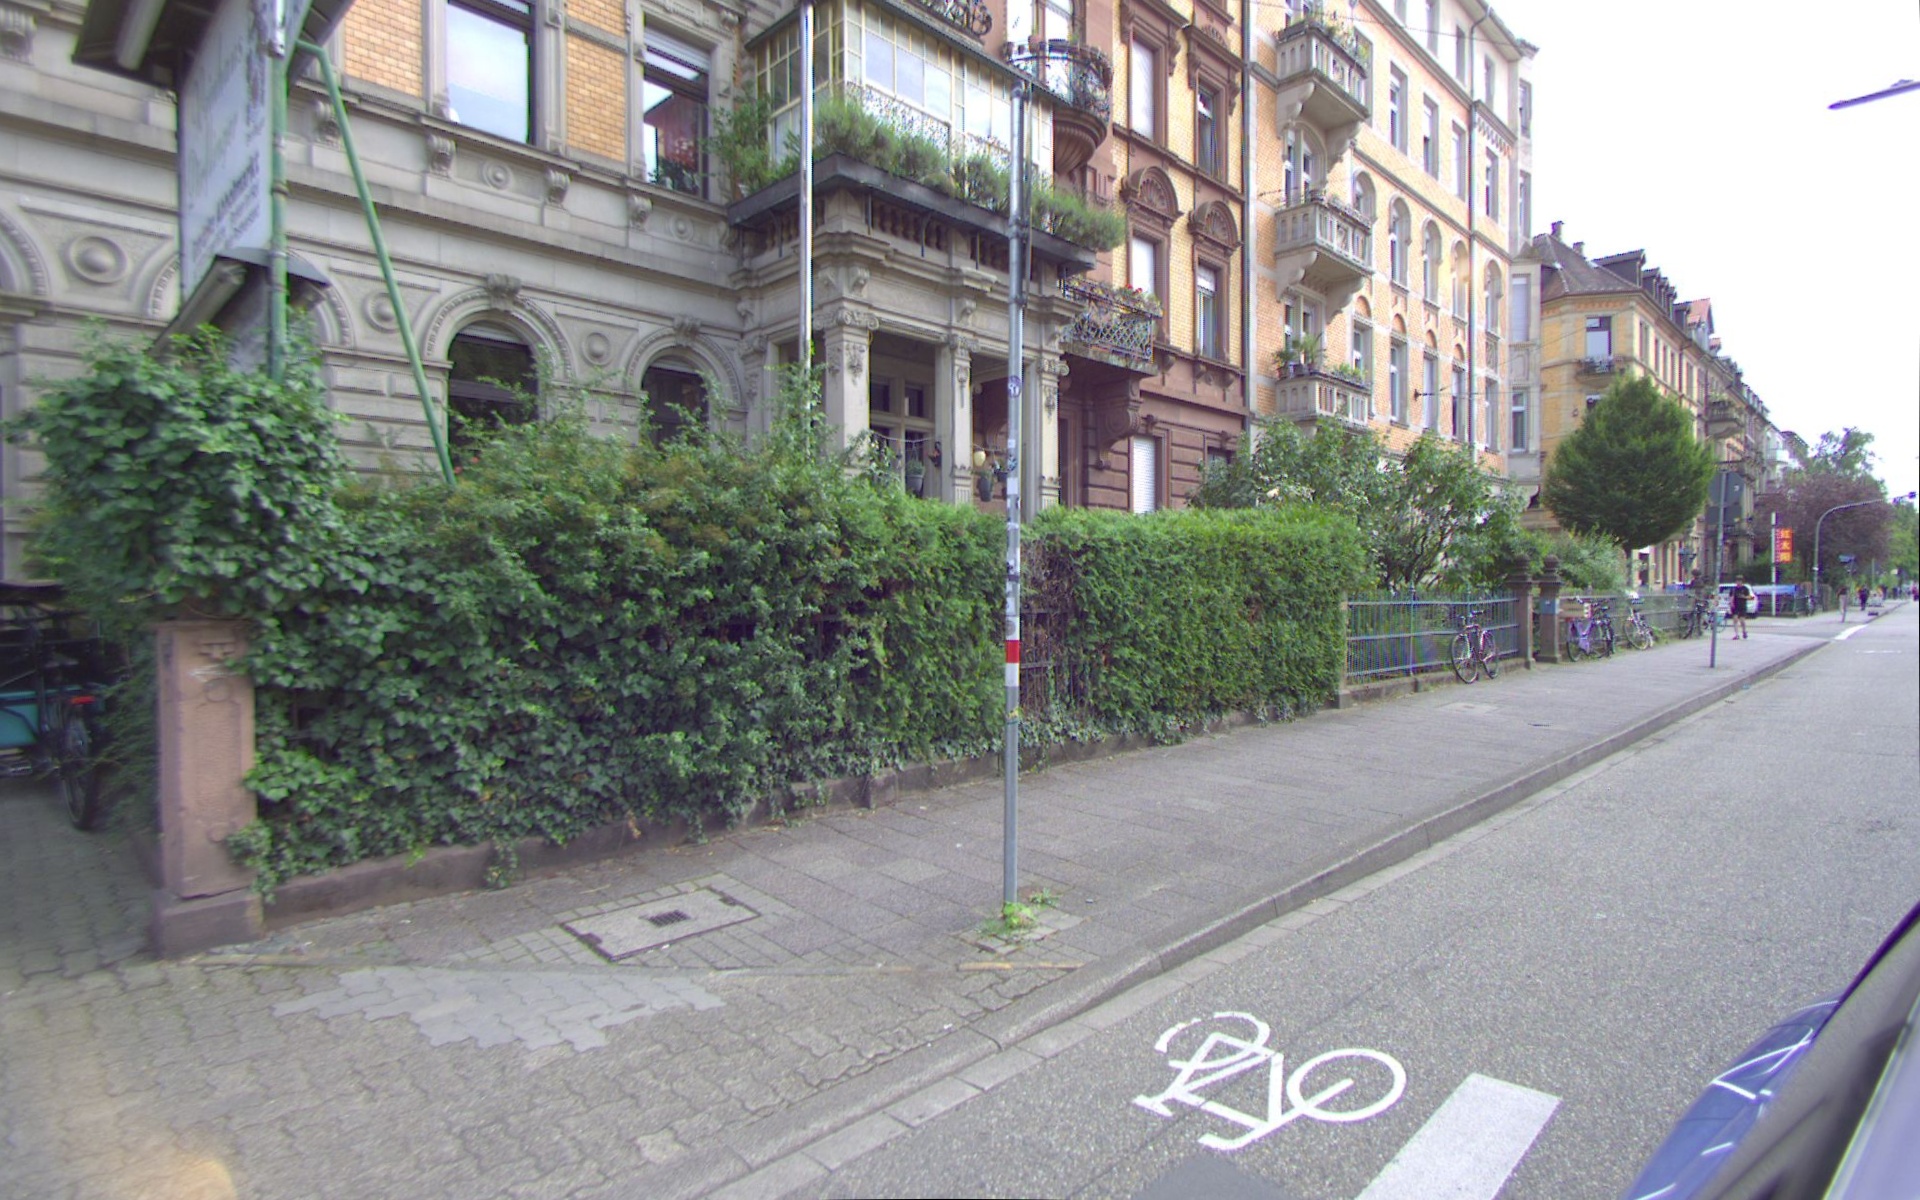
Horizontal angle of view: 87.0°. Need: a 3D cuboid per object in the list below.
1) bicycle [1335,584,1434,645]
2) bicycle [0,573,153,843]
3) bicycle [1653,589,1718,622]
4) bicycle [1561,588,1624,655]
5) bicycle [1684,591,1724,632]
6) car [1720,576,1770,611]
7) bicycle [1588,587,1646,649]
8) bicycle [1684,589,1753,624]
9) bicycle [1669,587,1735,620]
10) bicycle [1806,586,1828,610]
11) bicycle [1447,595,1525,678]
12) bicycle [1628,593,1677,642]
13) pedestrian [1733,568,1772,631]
[{"bbox_3d":[8.194,0.259,19.573,1.667,1.126,0.602,1,1,44],"label":"bicycle"},{"bbox_3d":[-5.512,0.512,6.021,2.623,1.328,0.758,1,1,44],"label":"bicycle"},{"bbox_3d":[25.975,0.189,36.244,0.521,1.142,1.897,0,1,-23],"label":"bicycle"},{"bbox_3d":[11.514,0.370,18.415,0.579,1.125,1.646,5,5,44],"label":"bicycle"},{"bbox_3d":[19.463,0.292,26.467,0.579,0.994,1.646,6,5,44],"label":"bicycle"},{"bbox_3d":[36.535,-0.334,47.079,1.749,1.544,3.943,0,1,39],"label":"car"},{"bbox_3d":[12.869,0.332,19.806,0.579,1.125,1.646,5,5,44],"label":"bicycle"},{"bbox_3d":[25.328,0.207,33.822,1.838,1.127,0.631,0,1,-1],"label":"bicycle"},{"bbox_3d":[26.933,0.118,36.751,0.522,1.142,1.896,0,1,-28],"label":"bicycle"},{"bbox_3d":[42.022,-0.110,49.625,1.843,1.127,0.629,-1,1,-44],"label":"bicycle"},{"bbox_3d":[7.698,0.499,14.780,0.579,1.126,1.646,0,1,44],"label":"bicycle"},{"bbox_3d":[15.336,0.362,22.399,0.579,0.994,1.646,6,5,44],"label":"bicycle"},{"bbox_3d":[21.163,-0.033,27.018,0.822,1.644,0.730,-1,1,-45],"label":"pedestrian"}]
